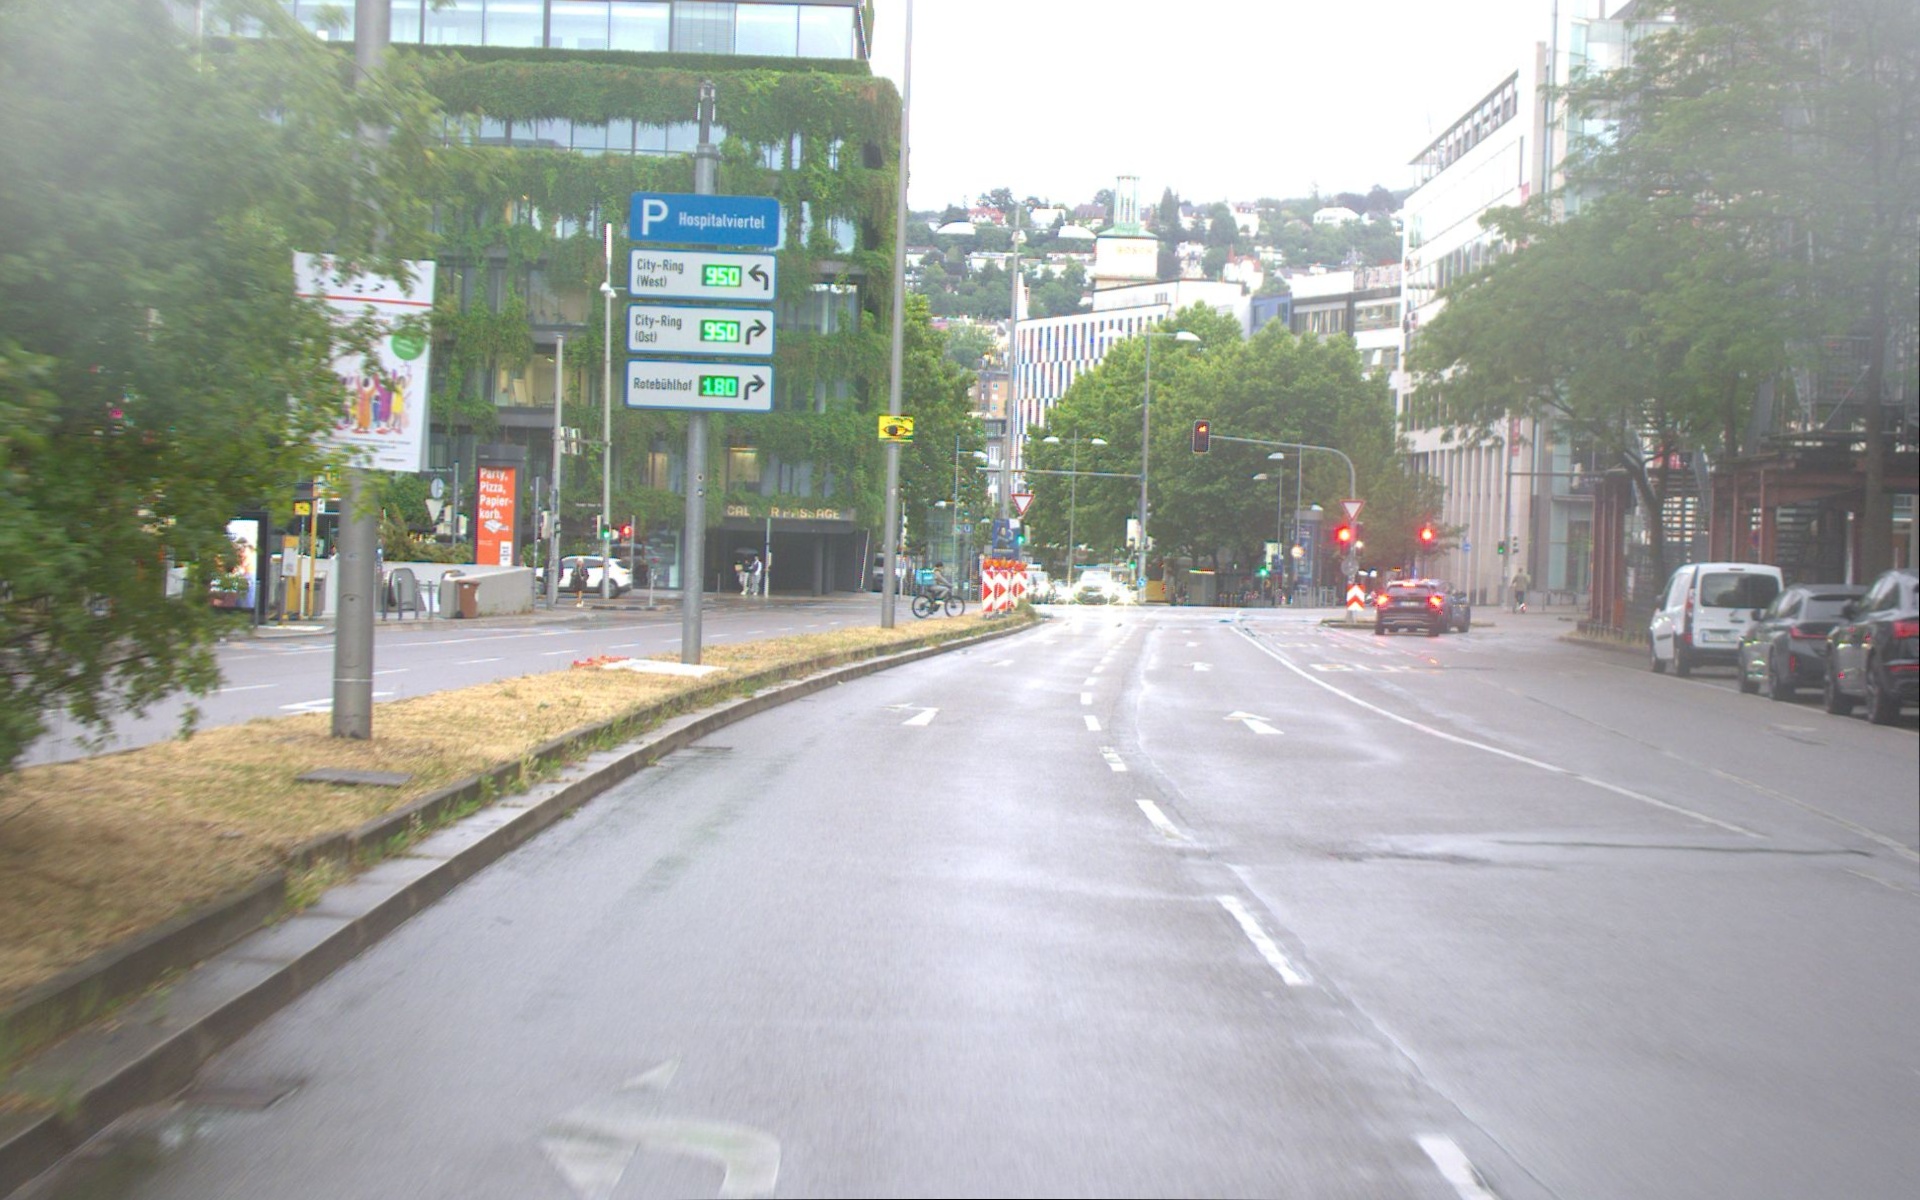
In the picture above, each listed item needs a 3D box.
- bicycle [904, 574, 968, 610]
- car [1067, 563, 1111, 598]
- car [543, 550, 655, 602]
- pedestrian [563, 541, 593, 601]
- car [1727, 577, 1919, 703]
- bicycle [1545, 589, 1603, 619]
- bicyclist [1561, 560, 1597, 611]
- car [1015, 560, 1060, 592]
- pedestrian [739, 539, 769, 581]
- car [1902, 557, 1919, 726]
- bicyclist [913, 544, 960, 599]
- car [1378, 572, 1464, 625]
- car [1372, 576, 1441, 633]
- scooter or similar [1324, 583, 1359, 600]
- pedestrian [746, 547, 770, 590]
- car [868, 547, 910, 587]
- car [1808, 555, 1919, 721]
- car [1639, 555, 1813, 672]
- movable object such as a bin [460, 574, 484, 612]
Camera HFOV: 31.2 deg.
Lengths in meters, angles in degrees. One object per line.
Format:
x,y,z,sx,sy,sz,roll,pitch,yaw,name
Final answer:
-0.761,-0.249,108.865,0.847,1.099,2.147,2,1,39,bicycle
5.941,-0.917,158.674,1.993,1.545,4.555,1,1,2,car
-13.868,-0.919,132.199,3.987,1.878,2.000,2,1,4,car
-12.322,-0.937,110.970,0.805,1.879,0.866,-3,0,-2,pedestrian
10.905,0.454,43.180,1.869,1.432,4.920,1,1,6,car
24.065,0.168,134.744,0.791,1.113,2.255,1,1,-37,bicycle
24.226,-0.559,134.534,0.791,1.968,1.114,1,0,-36,bicyclist
3.709,-1.150,164.725,1.856,1.443,4.621,1,1,-2,car
-8.710,-1.688,145.143,0.935,1.752,1.172,1,0,-20,pedestrian
9.955,0.432,31.046,1.861,1.595,4.592,1,1,4,car
-0.744,-0.900,108.808,0.847,1.698,1.296,2,1,38,bicyclist
13.921,-0.060,103.635,1.705,1.524,4.422,2,1,19,car
12.501,0.102,96.412,1.779,1.535,4.146,1,1,6,car
19.883,-0.438,179.271,1.745,0.875,0.489,1,0,-15,scooter or similar
-8.540,-1.331,145.070,0.741,1.752,0.976,1,0,-20,pedestrian
-3.483,-1.614,169.230,1.993,1.888,4.465,1,1,0,car
10.370,0.365,36.405,1.994,1.640,4.861,1,1,6,car
12.167,0.186,54.868,1.994,1.744,4.526,1,1,4,car
-11.461,-0.168,80.730,0.531,0.894,0.682,0,1,-6,movable object such as a bin
